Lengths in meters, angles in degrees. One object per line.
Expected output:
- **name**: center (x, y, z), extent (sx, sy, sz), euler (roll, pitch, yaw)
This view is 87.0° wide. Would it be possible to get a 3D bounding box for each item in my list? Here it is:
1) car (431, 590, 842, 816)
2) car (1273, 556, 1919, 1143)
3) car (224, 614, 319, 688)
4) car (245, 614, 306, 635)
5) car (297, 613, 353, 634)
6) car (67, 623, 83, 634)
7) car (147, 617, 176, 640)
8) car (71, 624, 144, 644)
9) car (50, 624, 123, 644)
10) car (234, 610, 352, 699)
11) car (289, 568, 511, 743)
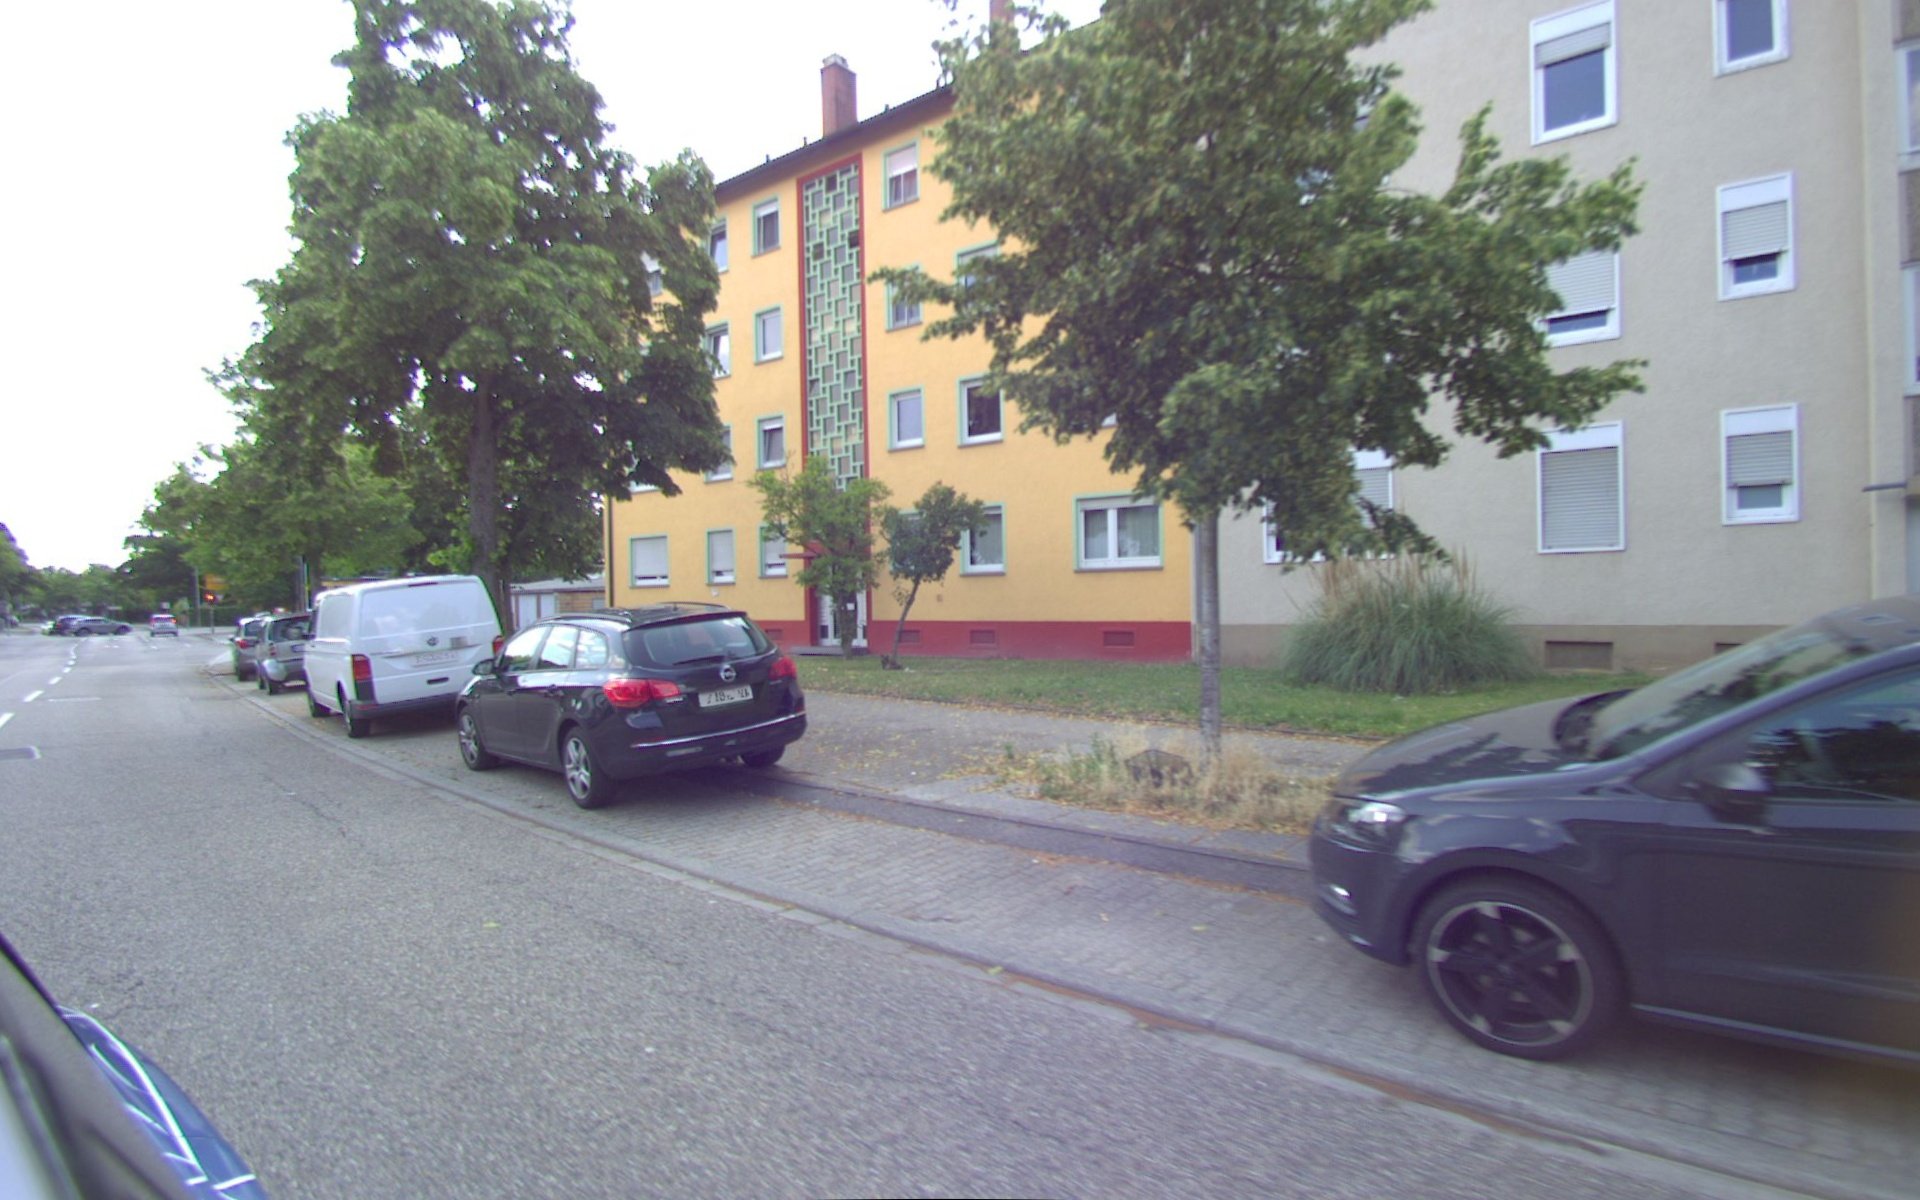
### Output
- **car**: center (-3.121, 0.732, 9.102), extent (1.739, 1.500, 4.509), euler (-2, 0, -43)
- **car**: center (3.265, 0.617, 3.096), extent (4.028, 1.500, 1.743), euler (-2, 1, 39)
- **car**: center (-17.331, 1.204, 25.412), extent (1.662, 1.497, 3.992), euler (-5, 3, -37)
- **car**: center (-64.491, 2.259, 95.414), extent (1.727, 1.790, 4.477), euler (-2, 0, 39)
- **car**: center (-64.213, 2.374, 102.420), extent (1.727, 1.967, 4.477), euler (-2, 0, 39)
- **car**: center (-129.523, 4.150, 148.058), extent (1.704, 1.439, 4.005), euler (0, 1, -42)
- **car**: center (-58.202, 2.055, 73.717), extent (1.535, 1.528, 3.615), euler (-1, 0, -40)
- **car**: center (-71.973, 2.843, 85.518), extent (1.727, 1.469, 4.477), euler (-1, 0, 39)
- **car**: center (-75.317, 2.928, 87.294), extent (1.727, 1.534, 4.477), euler (-1, 0, 39)
- **car**: center (-14.284, 1.116, 21.588), extent (1.499, 1.560, 3.761), euler (-8, 4, -41)
- **car**: center (-8.126, 0.691, 14.391), extent (1.855, 2.025, 5.332), euler (-1, -1, -39)
